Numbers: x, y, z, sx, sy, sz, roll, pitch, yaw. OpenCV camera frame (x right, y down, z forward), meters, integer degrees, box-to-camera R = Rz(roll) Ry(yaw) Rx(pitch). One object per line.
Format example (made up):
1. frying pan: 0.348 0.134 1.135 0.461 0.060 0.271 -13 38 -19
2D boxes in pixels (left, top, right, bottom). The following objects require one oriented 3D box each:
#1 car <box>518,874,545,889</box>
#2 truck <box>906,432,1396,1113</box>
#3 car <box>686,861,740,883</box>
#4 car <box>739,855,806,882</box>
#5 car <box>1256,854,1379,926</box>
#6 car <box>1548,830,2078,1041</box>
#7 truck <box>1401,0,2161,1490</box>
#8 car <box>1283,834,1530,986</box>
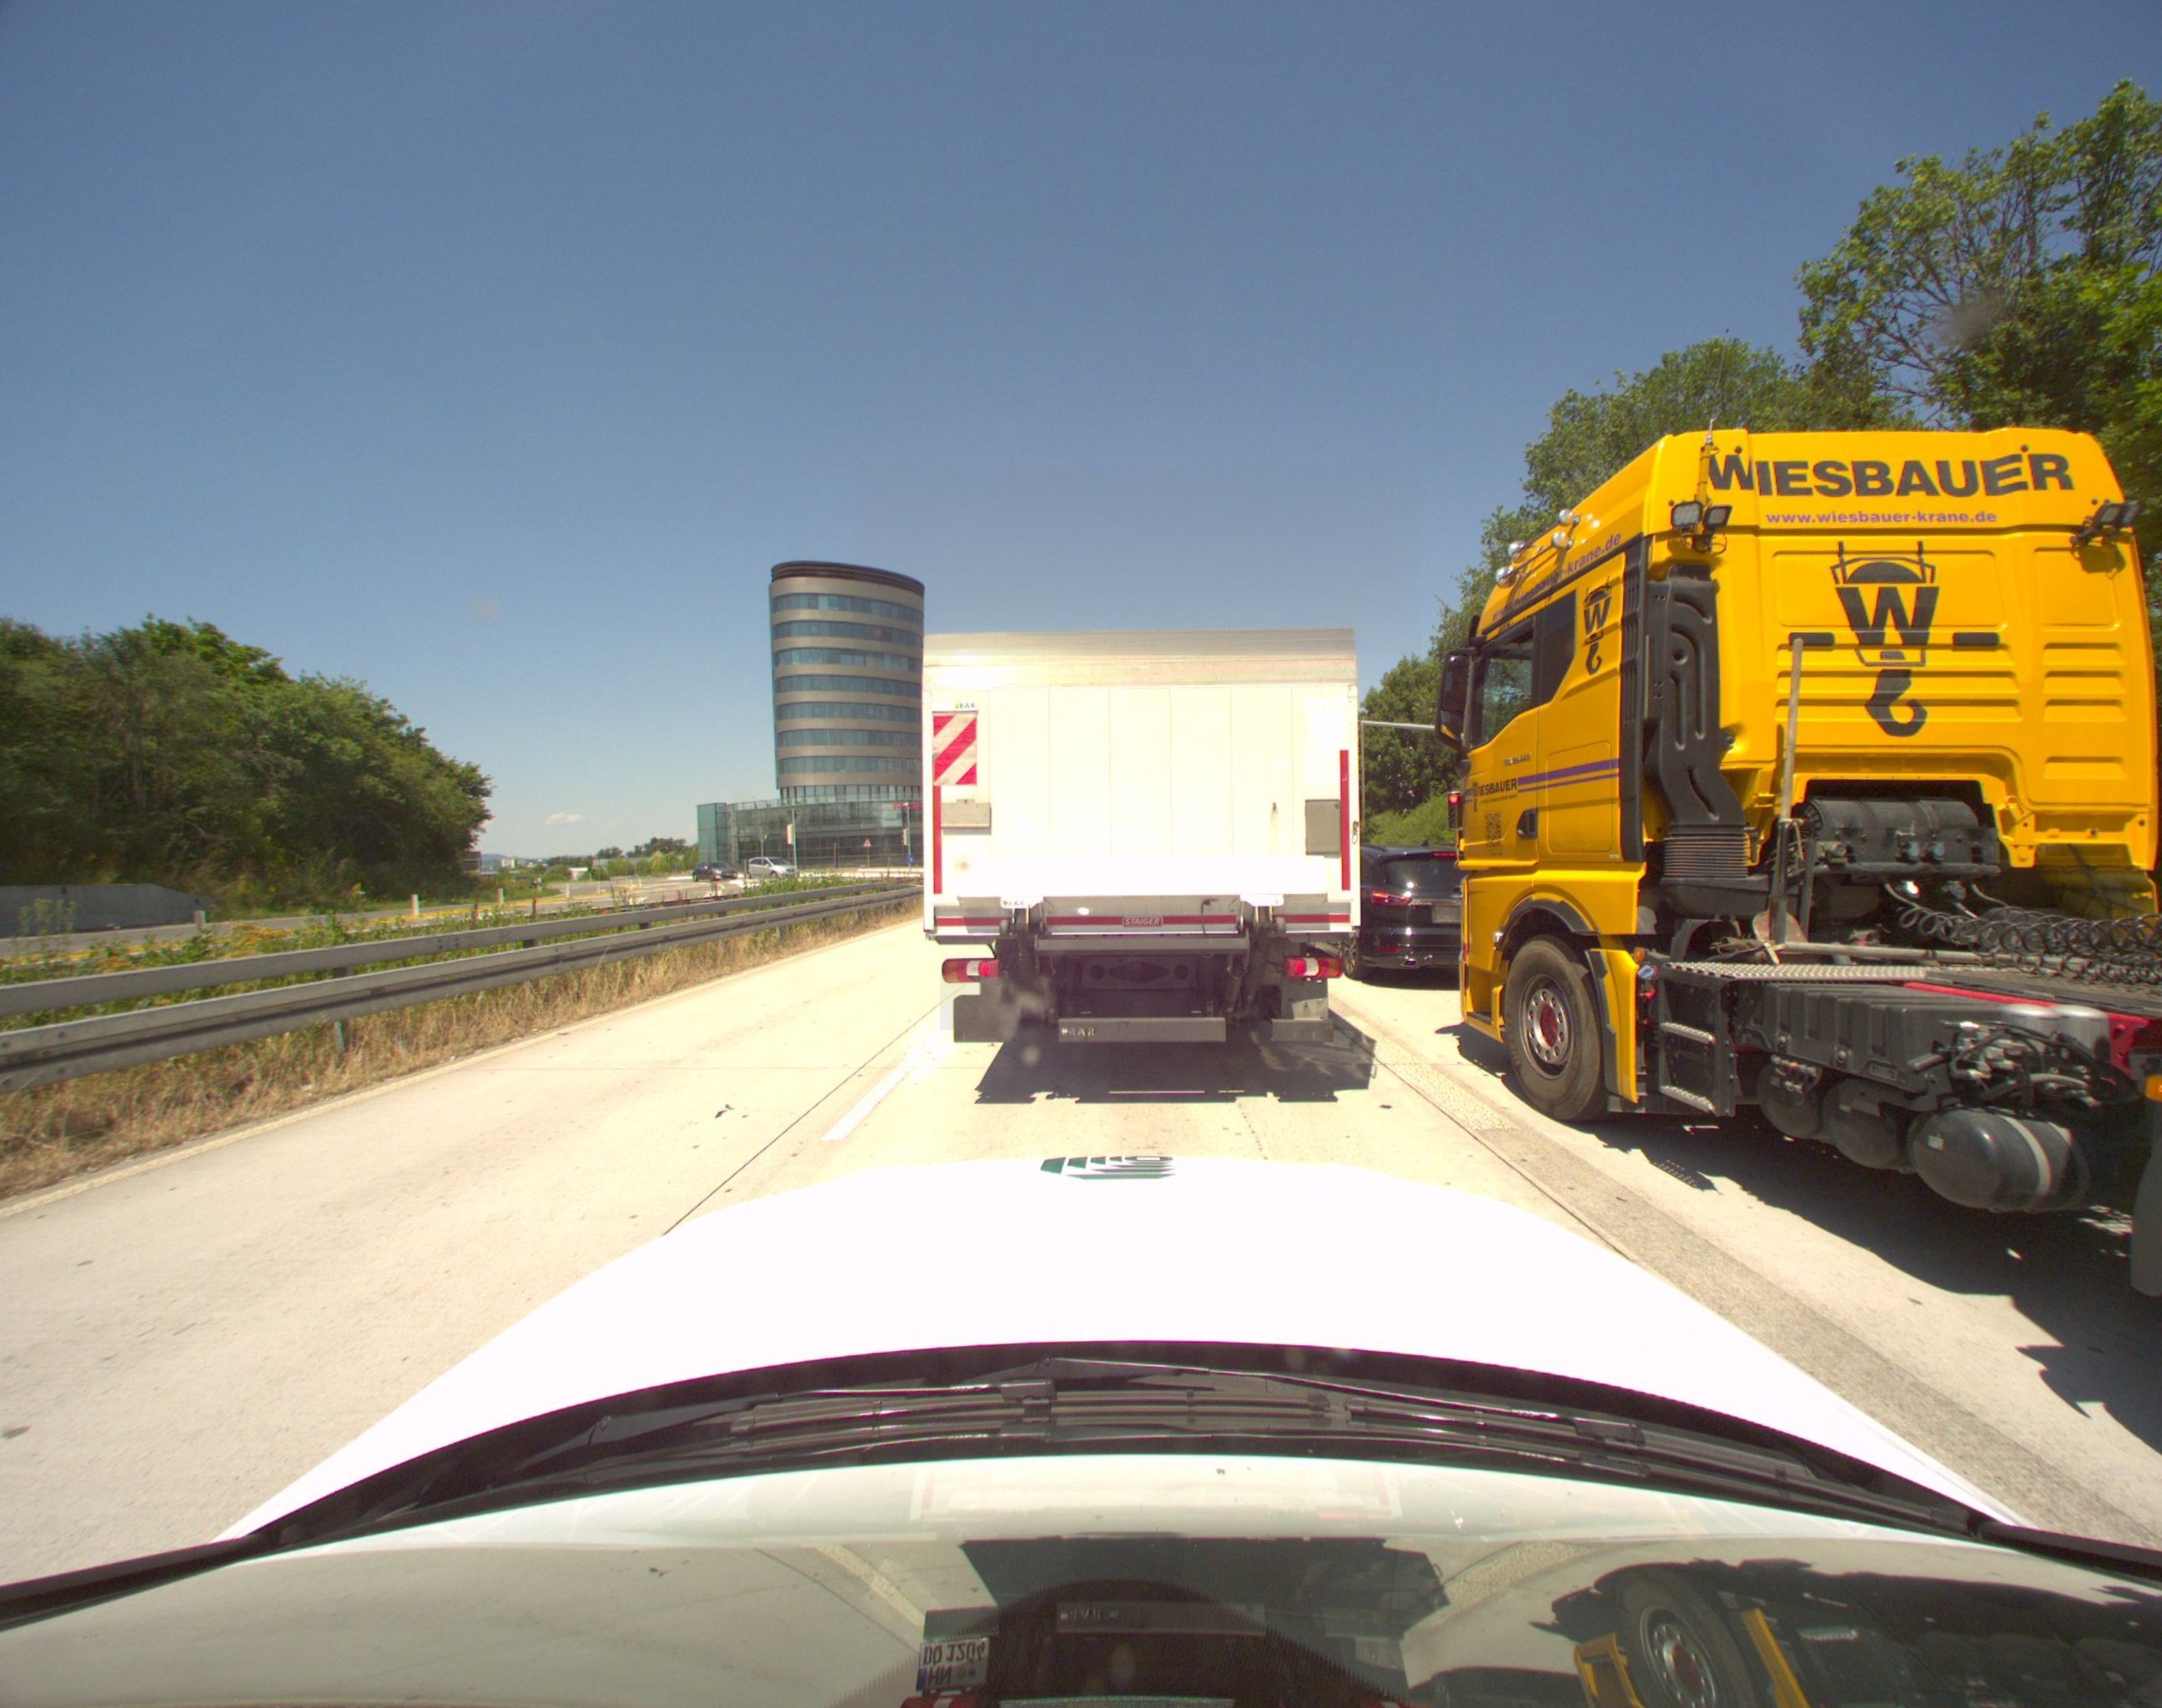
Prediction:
1. car: -55.811 2.769 82.697 1.726 1.485 4.242 0 -1 -41
2. truck: 0.535 -0.429 9.320 2.759 3.860 9.374 0 -1 2
3. car: -26.752 1.302 59.117 4.273 1.456 1.708 -3 -2 37
4. car: -20.686 0.980 54.596 4.274 1.595 1.788 -3 -2 29
5. car: 5.119 0.727 18.279 1.759 1.410 4.615 0 0 5
6. car: 7.713 0.717 9.441 1.763 1.807 4.789 0 -1 -2
7. truck: 3.913 -0.471 2.465 3.003 3.772 7.470 0 0 0
8. car: 4.090 0.626 11.129 1.776 1.639 4.652 0 -1 4
